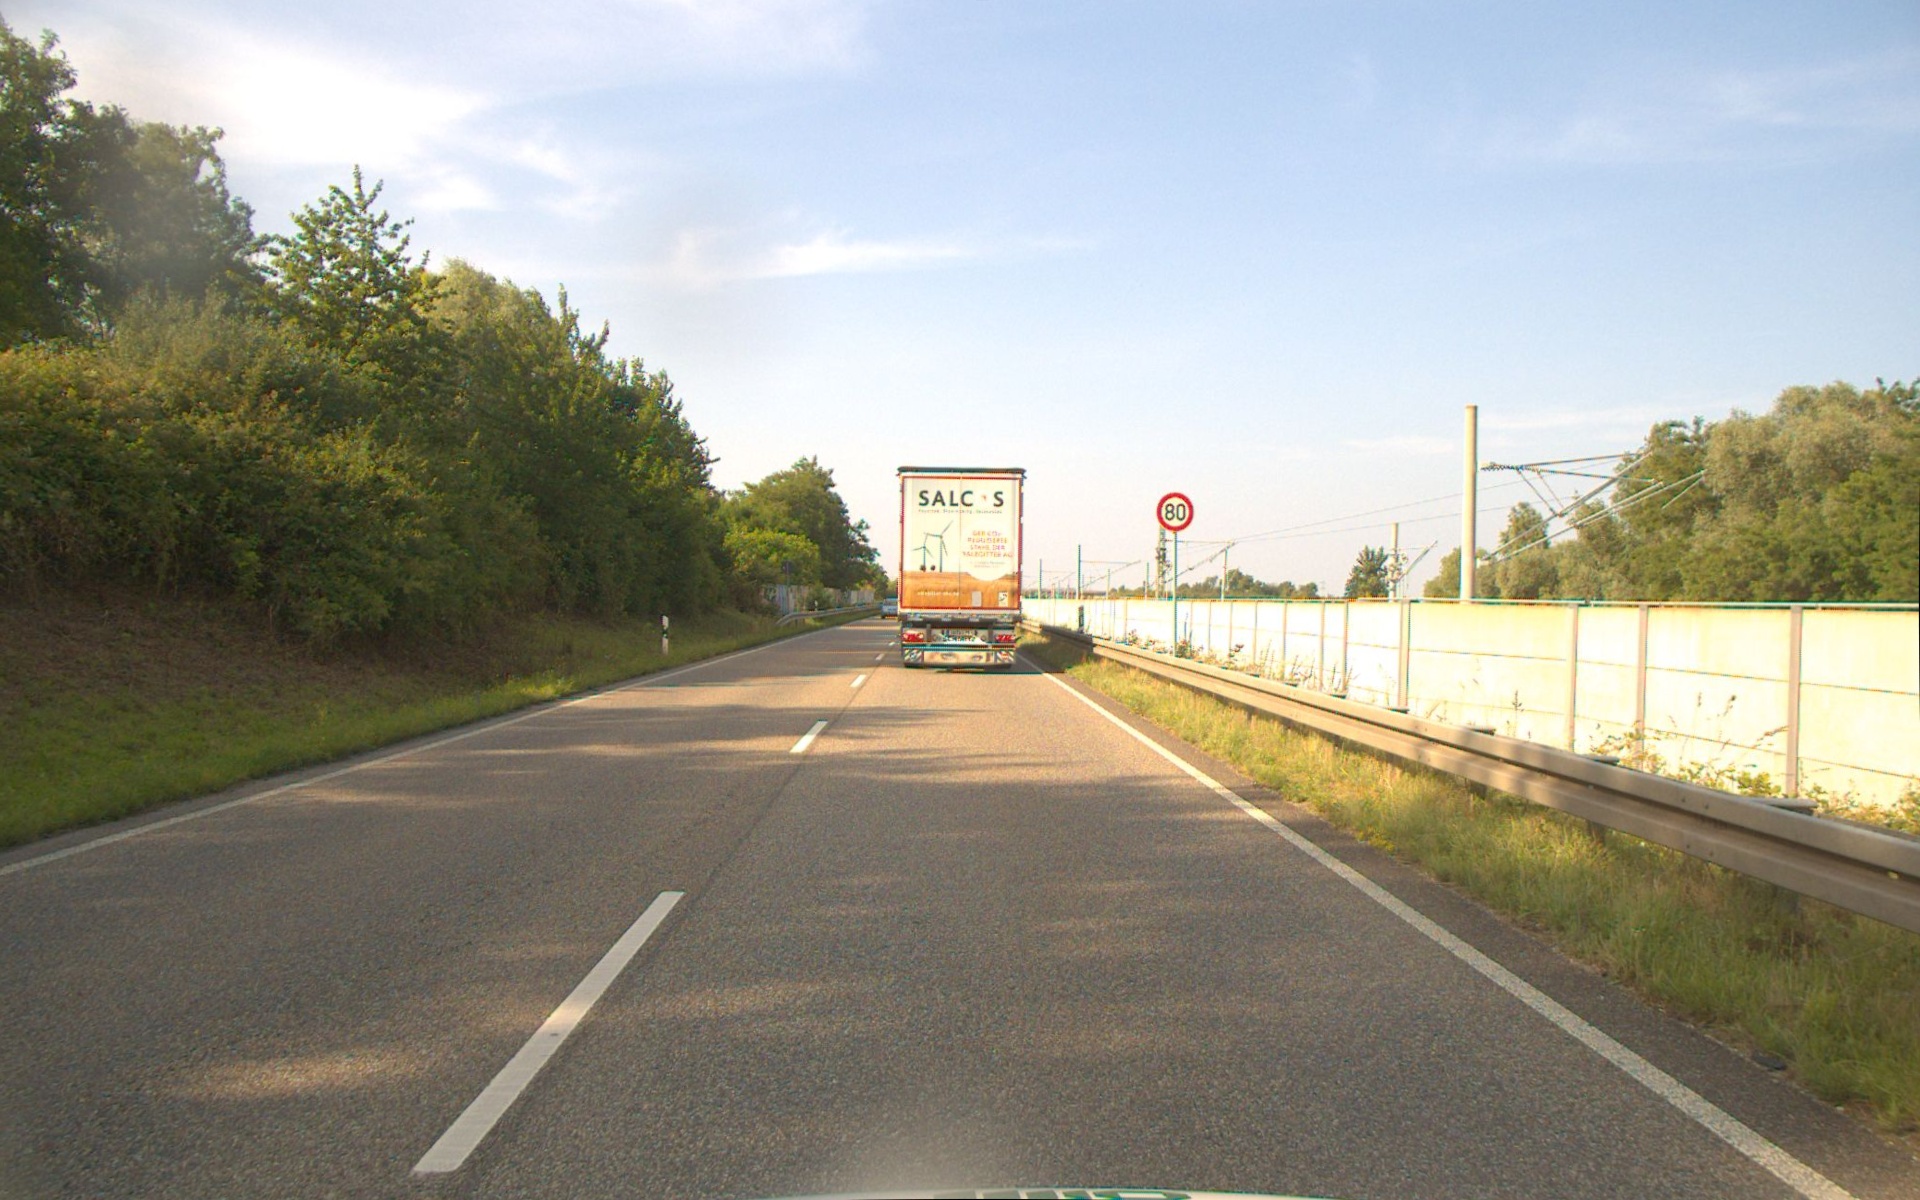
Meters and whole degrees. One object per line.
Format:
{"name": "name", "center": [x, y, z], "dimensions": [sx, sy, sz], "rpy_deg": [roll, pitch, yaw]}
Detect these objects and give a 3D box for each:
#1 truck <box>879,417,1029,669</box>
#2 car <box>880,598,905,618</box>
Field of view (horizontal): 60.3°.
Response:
{"name": "truck", "center": [-0.343, -1.159, 38.869], "dimensions": [2.972, 5.006, 11.679], "rpy_deg": [0, 0, -2]}
{"name": "car", "center": [-4.931, 0.607, 121.877], "dimensions": [1.684, 1.418, 4.360], "rpy_deg": [0, 0, 0]}
